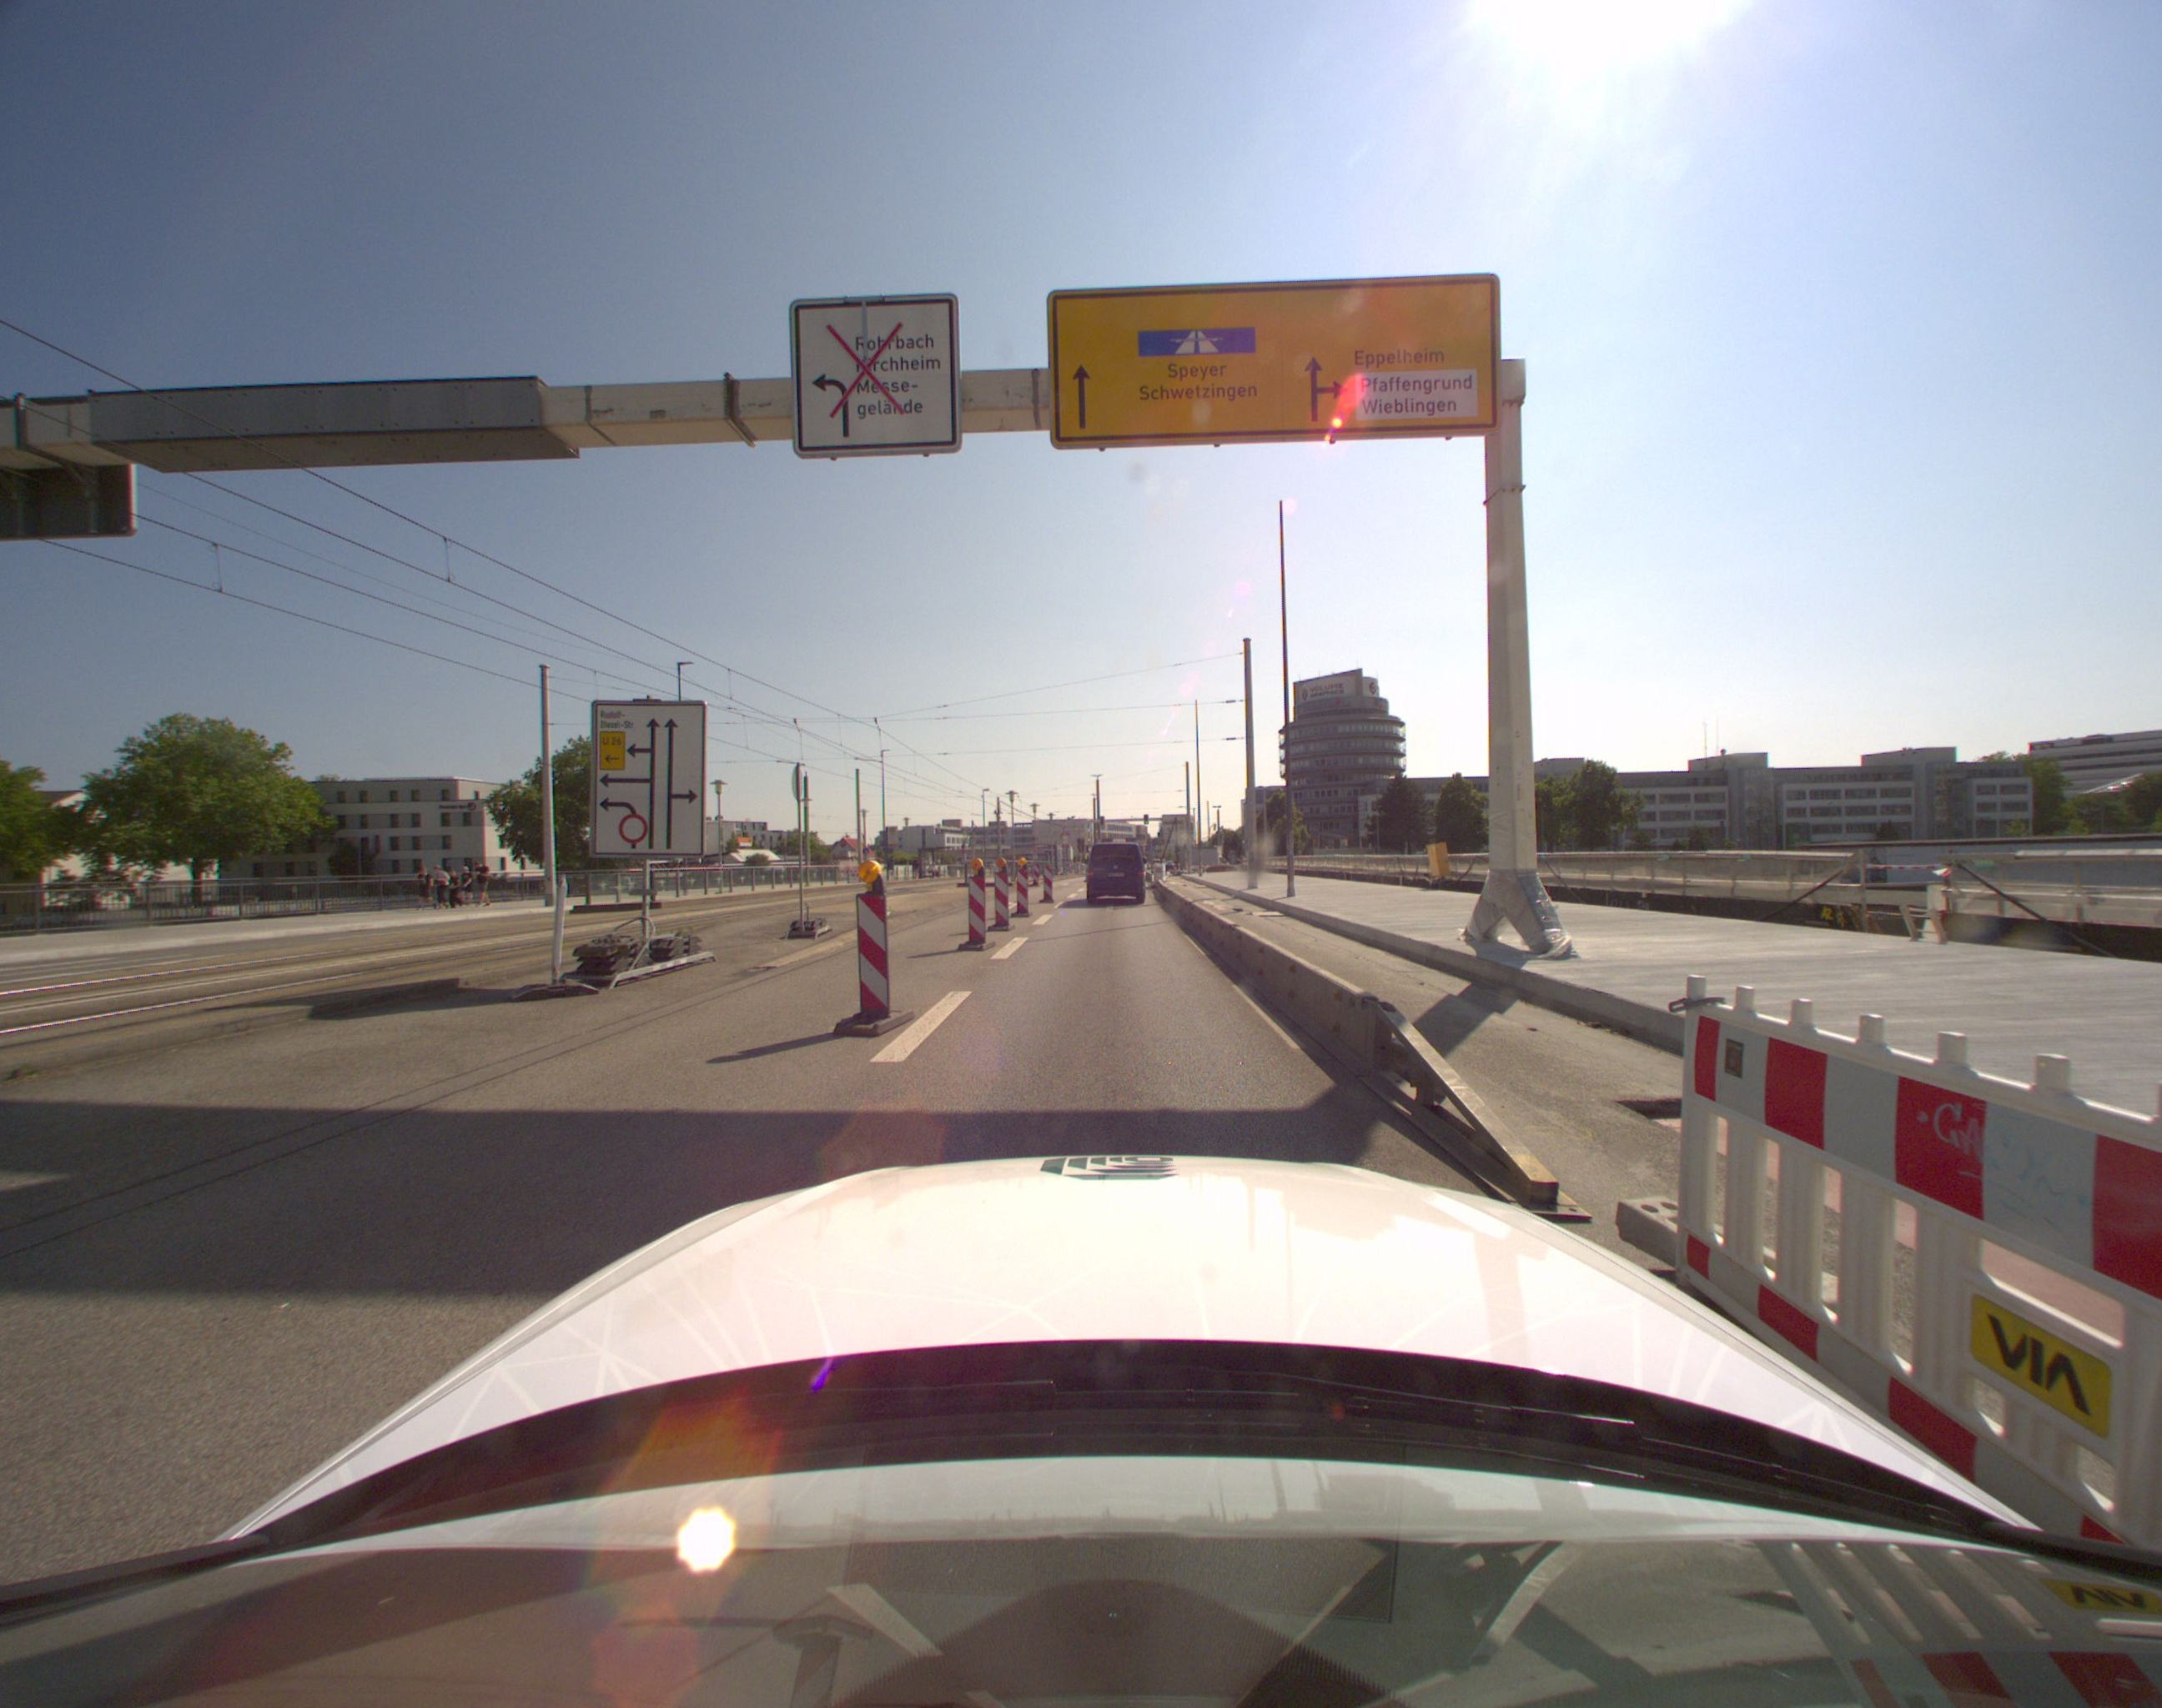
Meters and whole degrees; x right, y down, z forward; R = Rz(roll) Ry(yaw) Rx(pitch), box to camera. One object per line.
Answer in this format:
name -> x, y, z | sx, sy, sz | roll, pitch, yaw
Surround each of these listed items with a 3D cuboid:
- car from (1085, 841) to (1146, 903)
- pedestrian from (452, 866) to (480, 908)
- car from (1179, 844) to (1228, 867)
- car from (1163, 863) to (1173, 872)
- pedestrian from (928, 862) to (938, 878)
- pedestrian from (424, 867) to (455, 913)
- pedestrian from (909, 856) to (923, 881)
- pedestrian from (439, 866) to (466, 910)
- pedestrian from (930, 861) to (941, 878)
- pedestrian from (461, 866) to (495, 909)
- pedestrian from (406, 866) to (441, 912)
car -> 1.160, 0.541, 27.260 | 1.880, 1.934, 4.002 | 0, 0, 2
pedestrian -> -25.367, 1.336, 33.587 | 0.501, 1.687, 0.774 | -2, 0, 4
car -> 15.840, 0.142, 105.186 | 5.979, 2.887, 2.327 | 0, 0, -25
car -> 15.188, 2.370, 142.406 | 1.735, 1.475, 3.891 | -1, -1, 6
pedestrian -> -11.635, 1.243, 64.065 | 0.644, 1.274, 0.454 | -1, -1, 6
pedestrian -> -24.496, 1.357, 31.111 | 0.484, 1.687, 0.809 | -2, 0, 4
pedestrian -> -11.564, 1.013, 57.075 | 0.655, 1.654, 0.742 | -2, 0, 15
pedestrian -> -24.725, 1.343, 32.063 | 0.382, 1.687, 0.771 | -2, 0, 4
pedestrian -> -11.562, 1.239, 64.642 | 0.644, 1.274, 0.698 | -1, -1, 7
pedestrian -> -24.023, 1.331, 32.469 | 0.749, 1.687, 0.732 | -2, 0, 4
pedestrian -> -25.082, 1.327, 31.067 | 0.595, 1.687, 0.818 | -2, 0, 4
